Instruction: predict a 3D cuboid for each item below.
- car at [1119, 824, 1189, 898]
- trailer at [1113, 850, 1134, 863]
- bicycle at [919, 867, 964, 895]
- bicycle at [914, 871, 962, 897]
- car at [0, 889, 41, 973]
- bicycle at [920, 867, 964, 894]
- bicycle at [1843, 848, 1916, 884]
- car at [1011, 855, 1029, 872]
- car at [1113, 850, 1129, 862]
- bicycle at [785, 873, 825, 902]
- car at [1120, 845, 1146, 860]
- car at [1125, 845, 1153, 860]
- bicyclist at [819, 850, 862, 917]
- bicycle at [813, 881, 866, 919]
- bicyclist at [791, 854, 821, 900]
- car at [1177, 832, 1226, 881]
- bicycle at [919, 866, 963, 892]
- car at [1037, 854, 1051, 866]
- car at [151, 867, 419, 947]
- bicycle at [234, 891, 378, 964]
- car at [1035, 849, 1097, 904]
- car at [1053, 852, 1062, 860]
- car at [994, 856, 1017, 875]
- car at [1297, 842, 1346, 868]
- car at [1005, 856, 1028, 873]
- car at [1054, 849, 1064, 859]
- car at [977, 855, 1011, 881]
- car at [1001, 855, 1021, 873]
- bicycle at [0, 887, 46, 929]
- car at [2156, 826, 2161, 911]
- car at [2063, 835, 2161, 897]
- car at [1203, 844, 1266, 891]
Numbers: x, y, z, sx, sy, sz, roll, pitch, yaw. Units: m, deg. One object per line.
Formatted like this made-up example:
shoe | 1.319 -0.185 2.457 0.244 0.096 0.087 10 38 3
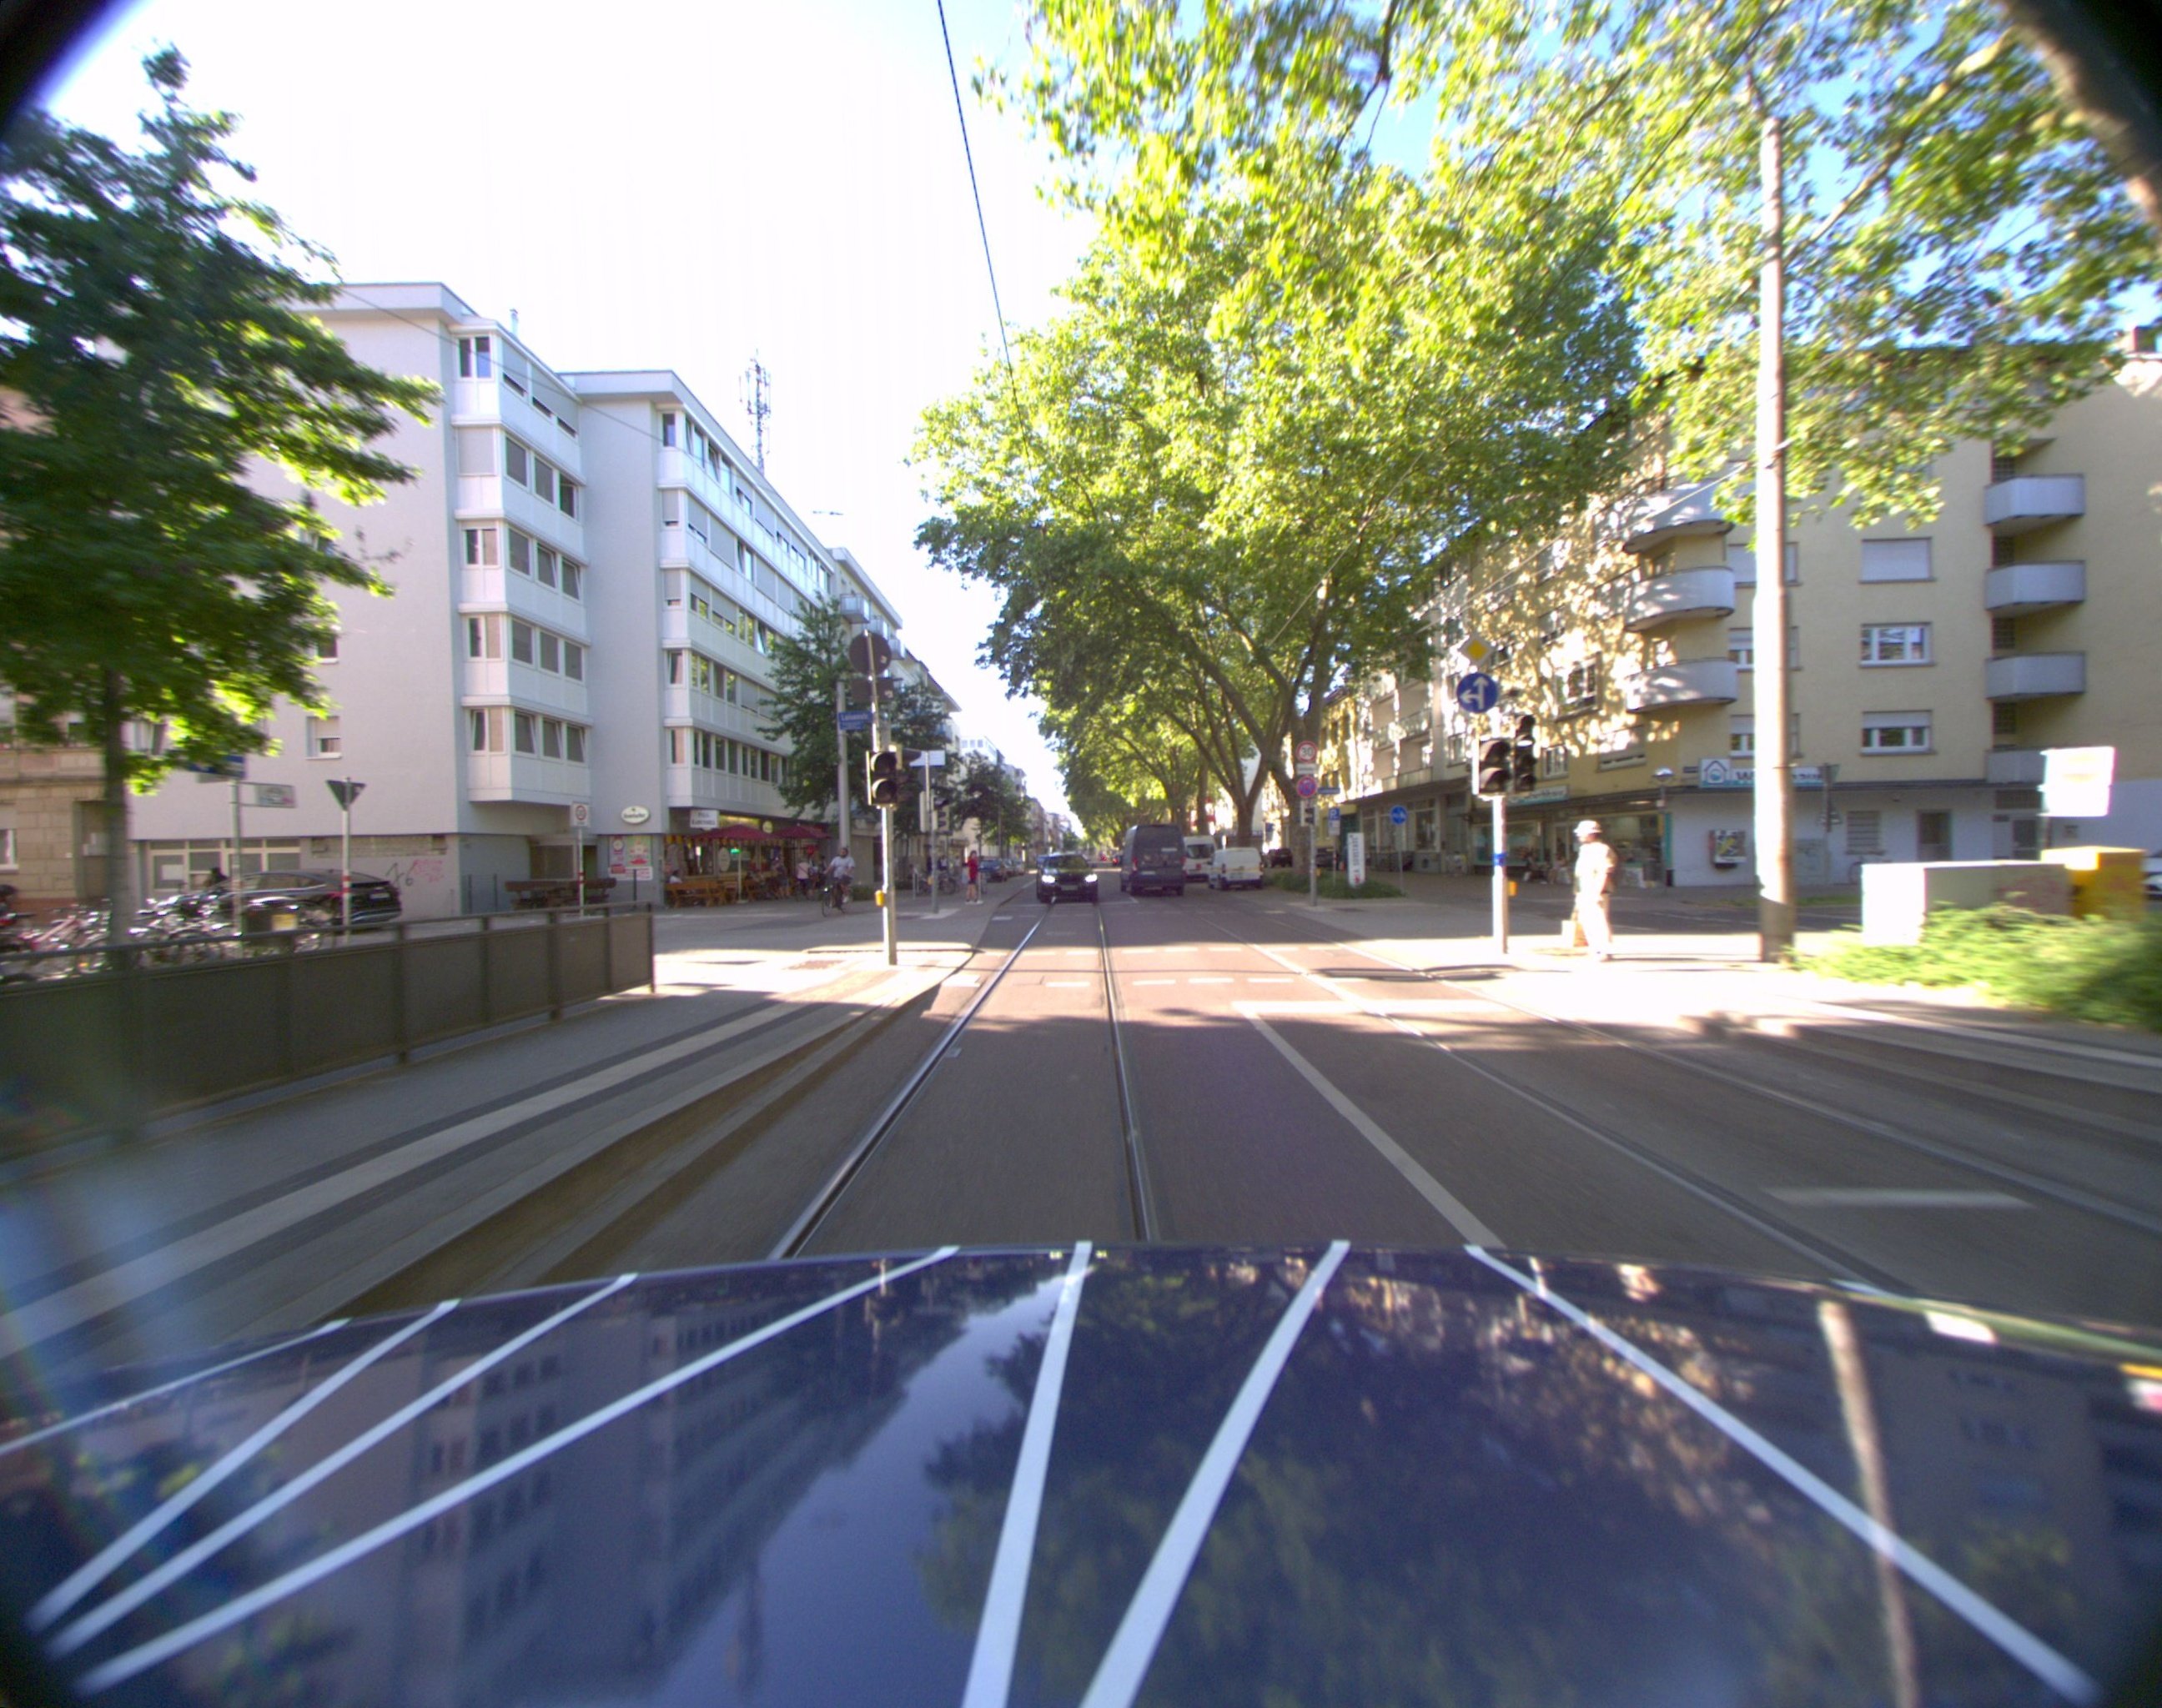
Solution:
car | 2.841 0.231 31.028 2.119 2.722 6.113 0 1 -1
trailer | 5.854 0.362 105.073 2.453 1.622 6.582 1 1 -1
bicycle | -5.915 1.135 32.325 1.821 1.094 0.497 -2 1 -7
bicycle | -5.877 1.219 31.297 1.820 0.988 0.481 -2 1 -2
car | -21.369 1.359 13.020 4.596 1.468 1.871 0 -2 1
bicycle | -6.027 1.142 33.067 1.821 1.094 0.481 -2 1 -7
bicycle | 25.059 0.383 23.855 1.637 1.078 0.543 -2 0 2
car | -6.136 0.935 76.757 1.724 1.562 4.258 1 1 -3
car | 5.824 0.286 110.536 1.928 1.674 4.181 1 1 -1
bicycle | -10.621 1.270 29.303 0.678 0.957 2.022 -2 1 3
car | 9.795 -0.300 143.015 4.661 2.518 2.000 -2 1 1
car | 9.790 -0.286 128.367 4.661 2.293 2.000 -2 1 1
bicyclist | -6.801 0.809 21.518 0.769 1.821 1.099 -2 1 2
bicycle | -6.788 1.276 21.489 0.790 0.932 1.939 -2 1 2
bicyclist | -10.611 0.886 29.359 0.678 1.707 0.965 -2 1 3
car | 6.940 0.101 44.467 2.113 2.562 6.024 -2 1 3
bicycle | -6.197 1.119 33.638 1.820 1.094 0.525 -1 1 0
car | -6.026 1.002 125.461 1.958 1.914 4.000 -2 1 1
car | -18.985 1.222 18.289 4.259 1.583 1.966 -2 2 0
bicycle | -13.563 1.280 13.320 1.919 1.200 0.511 -1 0 -3
car | -0.476 0.752 27.594 1.998 1.723 4.399 -3 1 1
car | -5.155 0.441 166.391 1.867 1.499 4.000 -2 1 1
car | -6.212 0.943 62.988 1.627 1.473 3.888 1 0 -2
car | 17.136 0.058 54.427 1.998 1.723 4.897 -2 1 1
car | -5.996 0.938 70.817 1.791 1.528 4.127 1 0 0
car | -5.014 -0.019 175.831 1.991 2.085 4.470 -2 1 1
car | -5.865 0.898 51.889 1.763 1.578 4.328 2 1 0
car | -6.112 0.906 66.823 1.448 1.528 2.881 1 0 0
bicycle | -30.981 1.555 21.455 2.387 1.113 0.769 -2 1 0
car | 21.063 0.197 12.481 3.997 1.499 2.000 -2 1 0
car | 26.965 0.230 18.316 3.997 1.368 2.000 -2 1 0
car | 6.683 0.533 33.493 1.767 1.840 4.317 -2 1 -1
